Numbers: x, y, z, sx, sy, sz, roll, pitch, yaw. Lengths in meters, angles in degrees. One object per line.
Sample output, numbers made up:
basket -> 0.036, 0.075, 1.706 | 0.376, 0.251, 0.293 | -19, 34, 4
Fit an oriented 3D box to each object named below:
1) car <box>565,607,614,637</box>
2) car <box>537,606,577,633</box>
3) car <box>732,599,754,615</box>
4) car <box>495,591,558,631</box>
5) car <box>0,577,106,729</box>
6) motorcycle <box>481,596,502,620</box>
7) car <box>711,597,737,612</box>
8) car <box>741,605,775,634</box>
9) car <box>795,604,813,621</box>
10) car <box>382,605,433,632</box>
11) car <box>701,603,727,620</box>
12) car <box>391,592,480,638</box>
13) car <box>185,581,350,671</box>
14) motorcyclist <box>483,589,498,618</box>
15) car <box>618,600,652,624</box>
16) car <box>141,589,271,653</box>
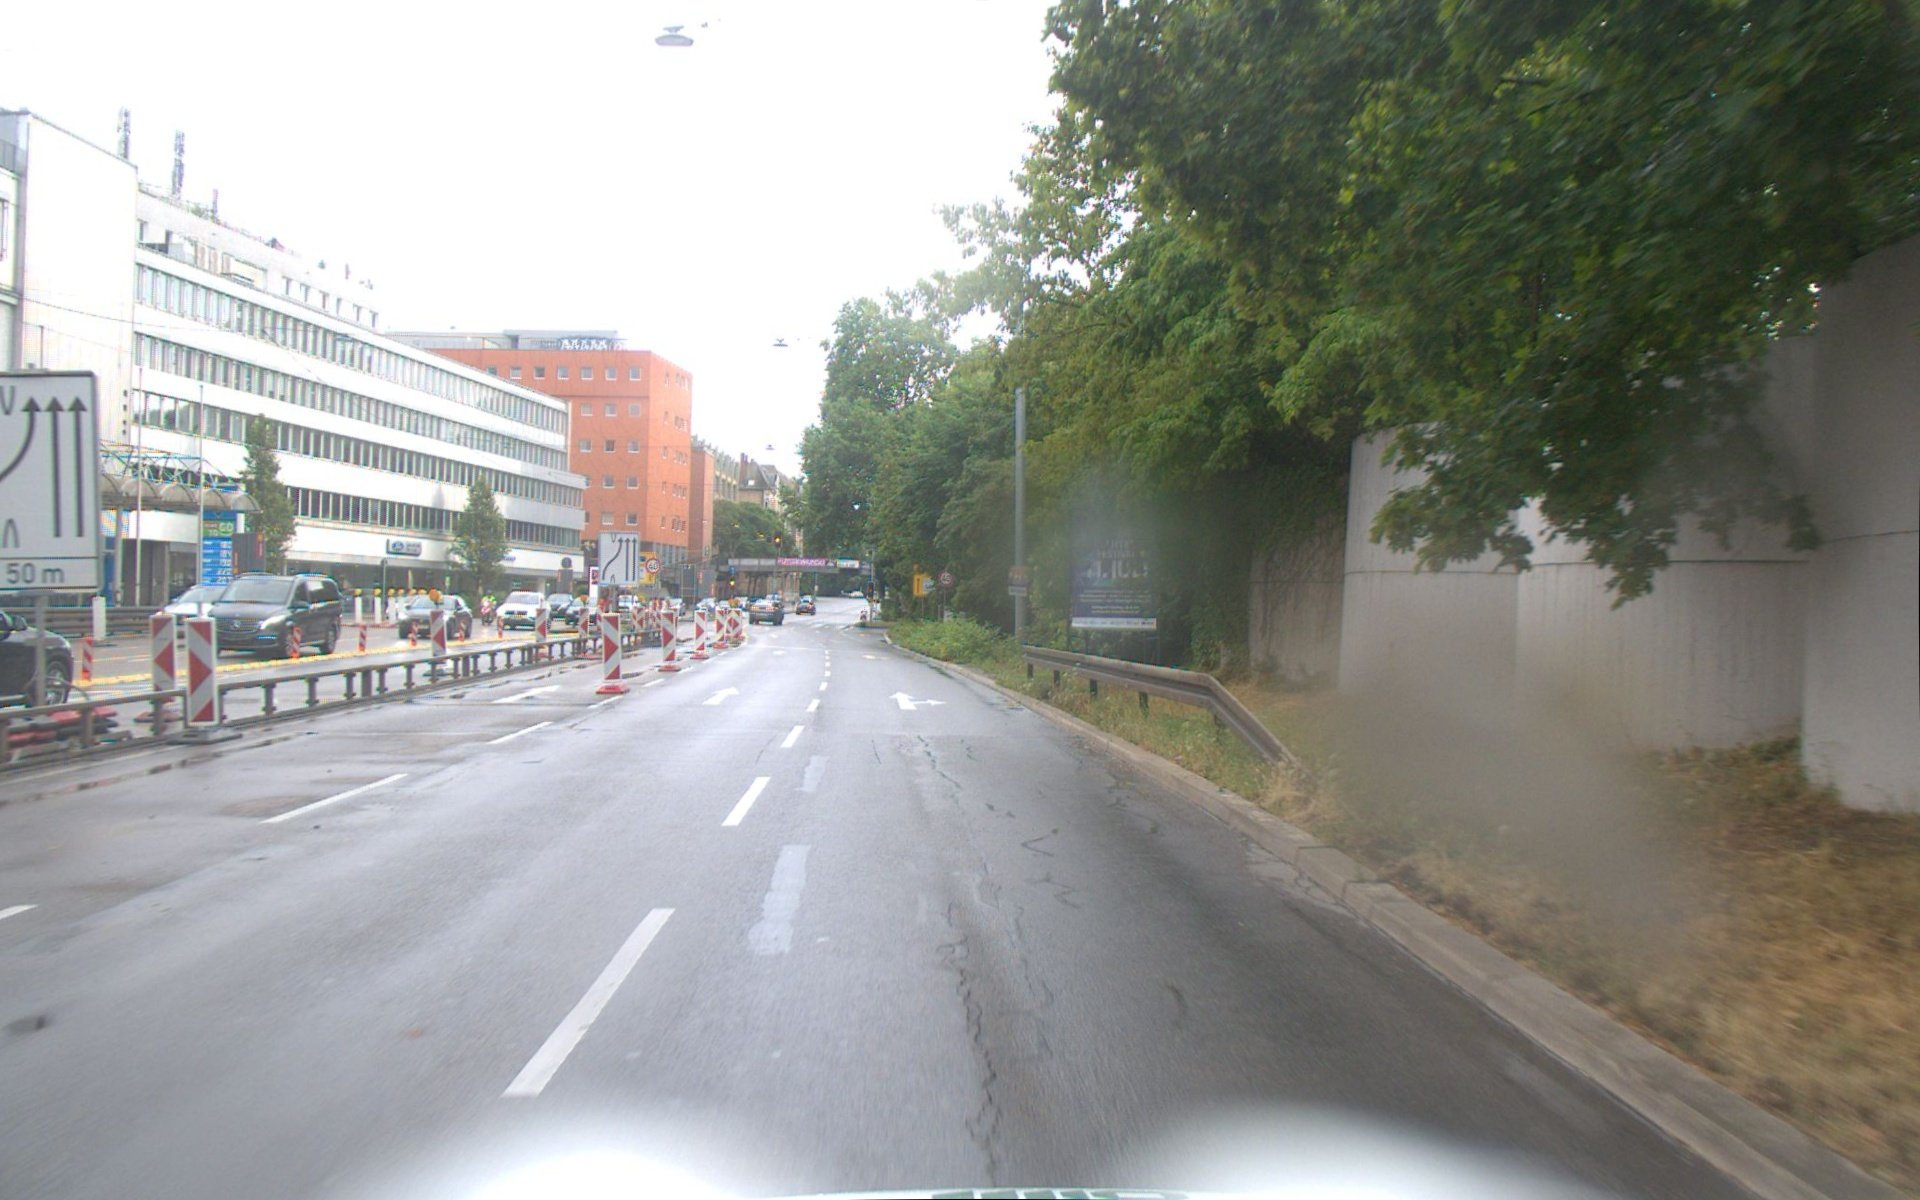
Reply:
car -> -19.926, 1.175, 89.028 | 1.920, 1.548, 4.296 | 1, 0, -4
car -> -23.824, 1.149, 97.972 | 1.677, 1.563, 4.074 | 0, 0, -5
car -> -24.727, 0.790, 188.487 | 1.807, 1.768, 4.605 | 1, -1, 2
car -> -19.192, 0.488, 73.386 | 1.900, 1.719, 4.576 | 1, 0, -4
car -> -11.591, 0.568, 18.136 | 1.908, 1.625, 4.670 | 4, 1, 0
motorcycle -> -22.543, 0.374, 79.599 | 0.567, 1.122, 2.026 | 0, -1, -3
car -> -22.117, 0.447, 155.197 | 1.654, 1.378, 4.115 | 0, 0, 2
car -> -14.250, 1.360, 116.785 | 2.079, 1.765, 4.195 | 4, 1, -5
car -> -16.768, 1.353, 177.982 | 1.728, 1.726, 3.703 | 0, -1, -2
car -> -32.349, 1.080, 96.977 | 1.618, 1.562, 3.756 | 0, 0, 1
car -> -24.653, 1.180, 165.927 | 1.770, 1.586, 4.301 | 1, -1, 1
car -> -18.017, 0.515, 56.992 | 1.814, 1.492, 4.703 | 0, 0, -4
car -> -16.155, 0.584, 38.927 | 1.954, 1.970, 5.227 | 0, 0, -4
motorcyclist -> -22.517, 0.179, 79.247 | 0.576, 1.387, 0.560 | 0, 0, -5
car -> -24.392, 0.902, 124.103 | 1.941, 1.737, 4.826 | 1, -1, -5
car -> -20.158, 0.558, 44.414 | 1.712, 1.613, 4.262 | 0, -1, -3
